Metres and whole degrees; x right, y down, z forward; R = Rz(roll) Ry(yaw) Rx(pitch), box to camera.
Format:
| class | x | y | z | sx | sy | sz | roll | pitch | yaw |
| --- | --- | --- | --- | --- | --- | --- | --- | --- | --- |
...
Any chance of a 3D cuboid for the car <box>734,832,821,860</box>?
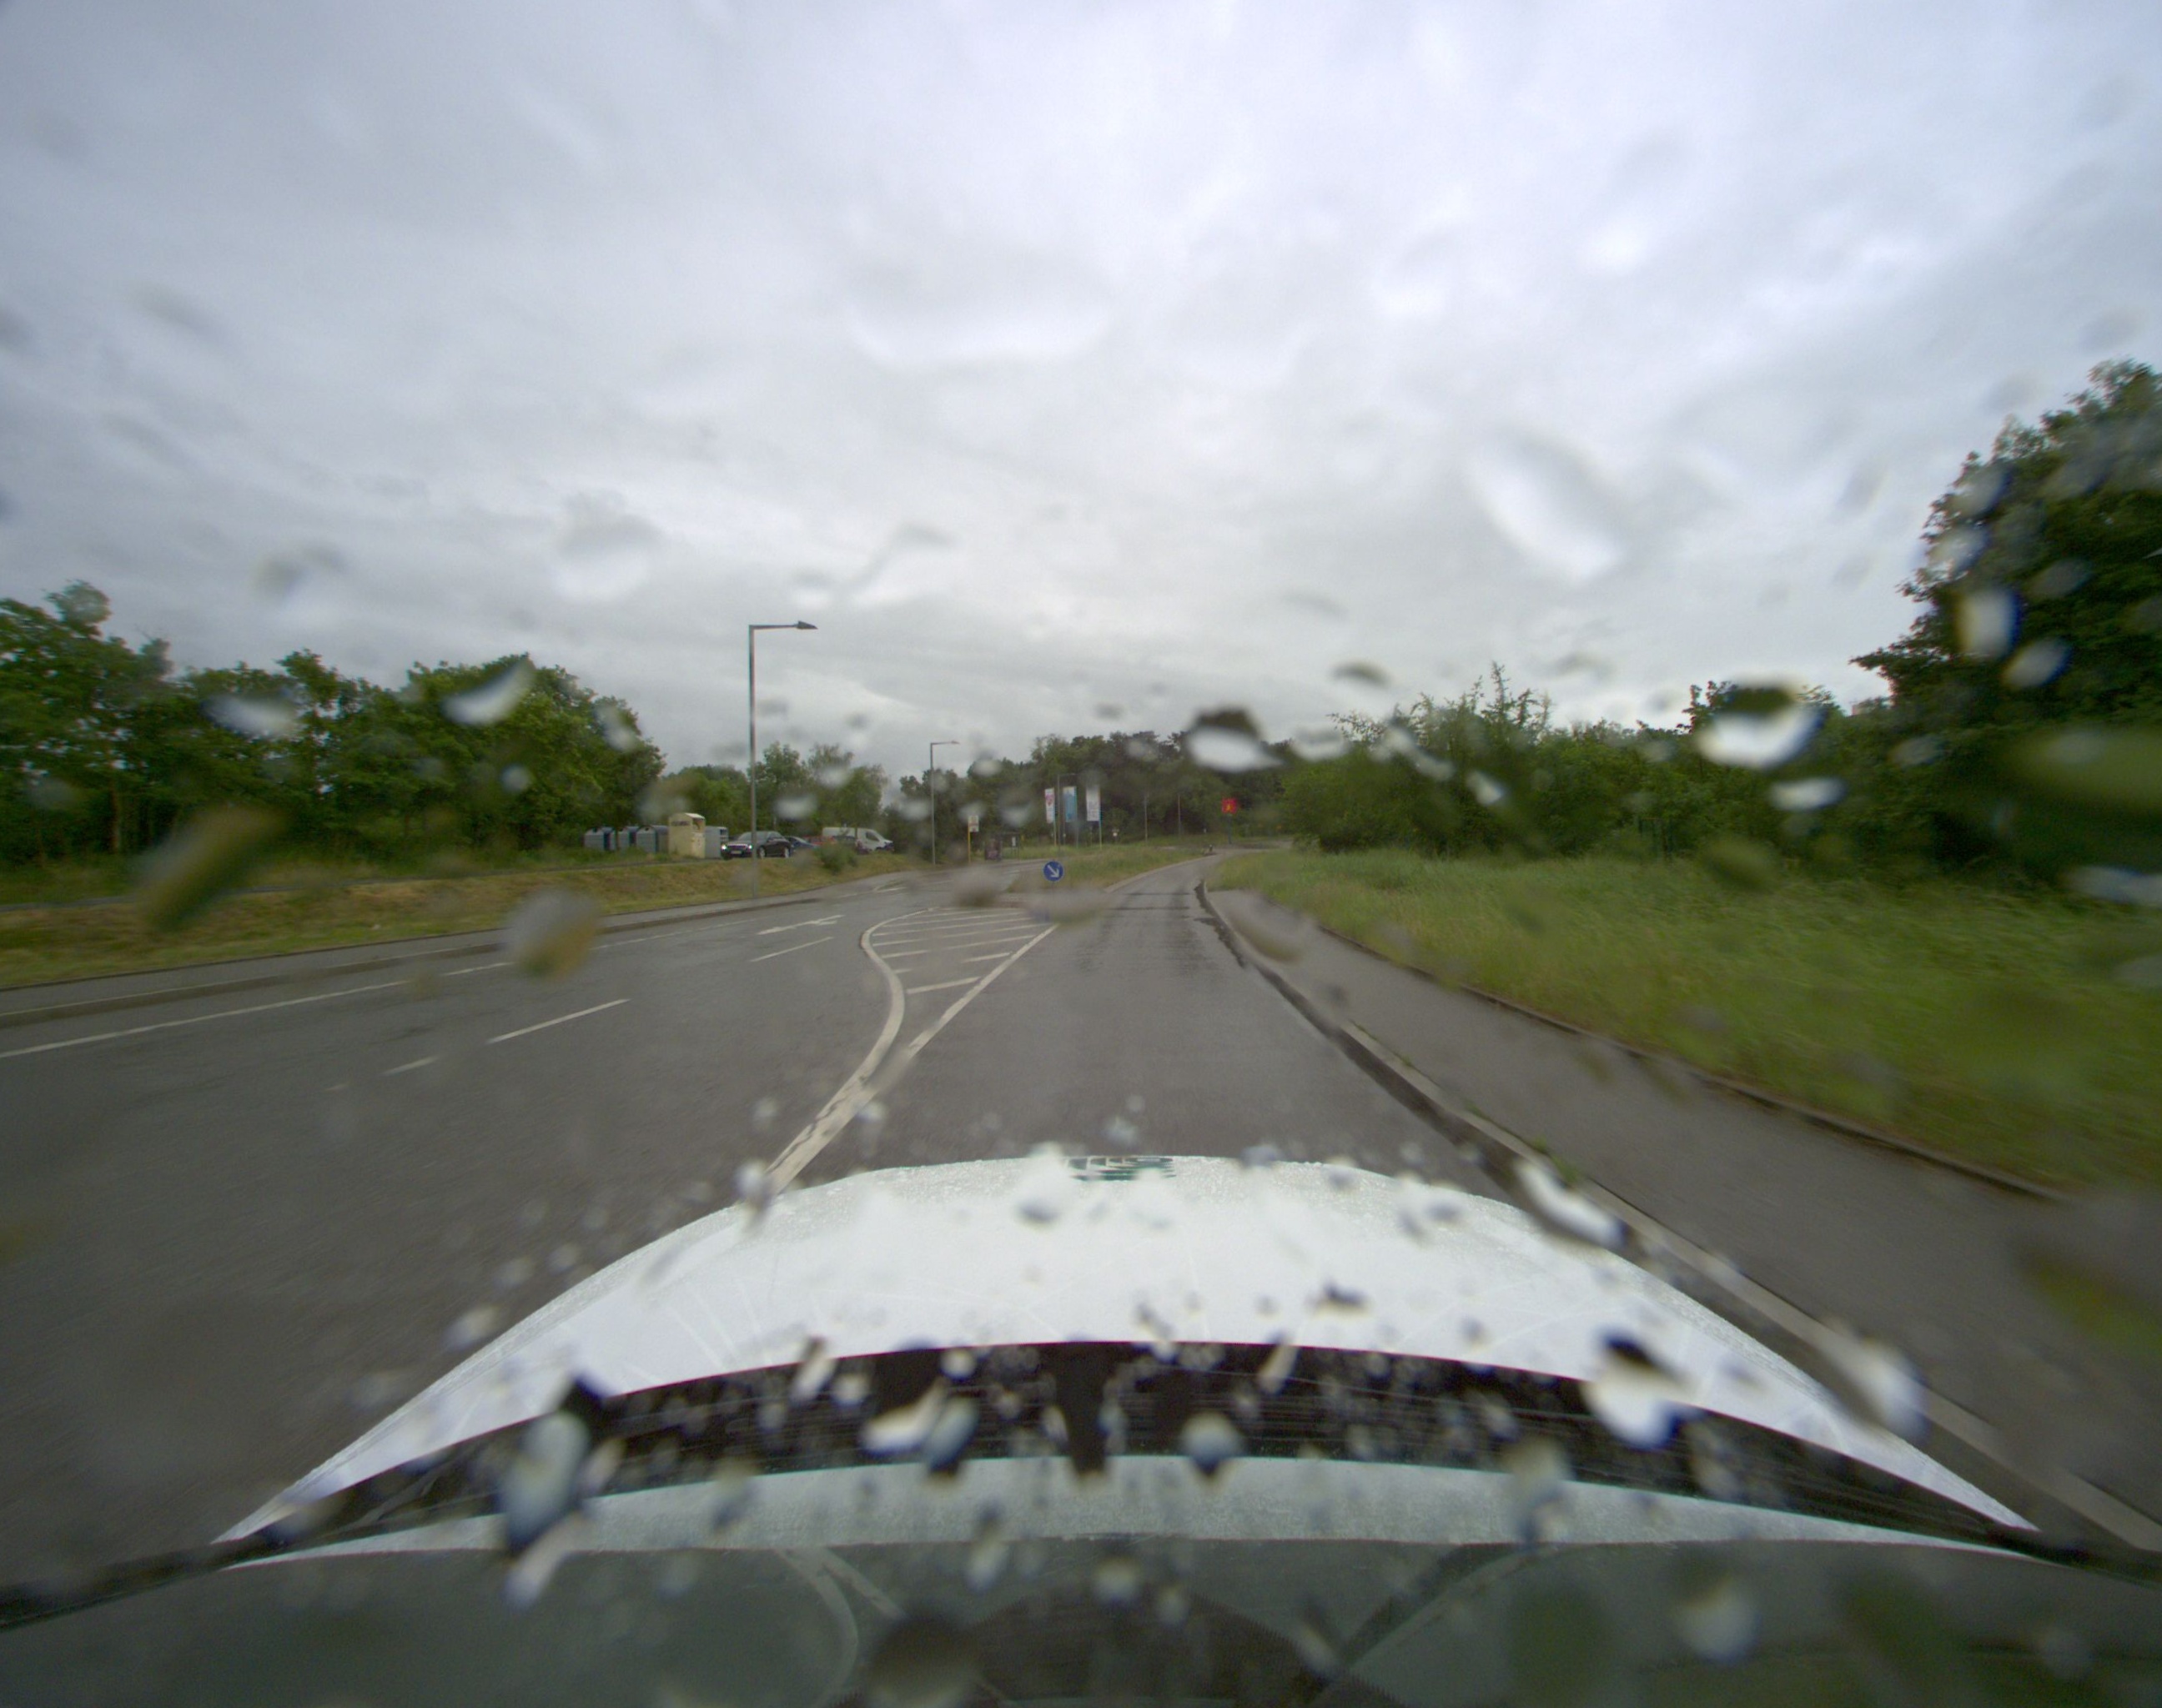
| class | x | y | z | sx | sy | sz | roll | pitch | yaw |
| --- | --- | --- | --- | --- | --- | --- | --- | --- | --- |
| car | -18.944 | -0.514 | 50.982 | 4.684 | 1.693 | 2.007 | 0 | 1 | 4 |

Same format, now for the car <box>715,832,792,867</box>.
| class | x | y | z | sx | sy | sz | roll | pitch | yaw |
| --- | --- | --- | --- | --- | --- | --- | --- | --- | --- |
| car | -16.180 | -0.276 | 40.510 | 1.684 | 1.568 | 4.548 | 2 | 2 | 4 |

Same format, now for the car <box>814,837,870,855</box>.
| class | x | y | z | sx | sy | sz | roll | pitch | yaw |
| --- | --- | --- | --- | --- | --- | --- | --- | --- | --- |
| car | -19.510 | -0.665 | 66.595 | 3.966 | 1.364 | 1.656 | 2 | 1 | 6 |

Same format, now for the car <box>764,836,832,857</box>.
| class | x | y | z | sx | sy | sz | roll | pitch | yaw |
| --- | --- | --- | --- | --- | --- | --- | --- | --- | --- |
| car | -19.460 | -0.523 | 56.086 | 3.966 | 1.364 | 1.904 | 2 | 1 | 7 |

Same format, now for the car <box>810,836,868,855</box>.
| class | x | y | z | sx | sy | sz | roll | pitch | yaw |
| --- | --- | --- | --- | --- | --- | --- | --- | --- | --- |
| car | -19.141 | -0.671 | 64.512 | 3.966 | 1.364 | 1.851 | -1 | 1 | 6 |

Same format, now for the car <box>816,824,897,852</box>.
| class | x | y | z | sx | sy | sz | roll | pitch | yaw |
| --- | --- | --- | --- | --- | --- | --- | --- | --- | --- |
| car | -19.854 | -1.404 | 72.318 | 6.532 | 2.397 | 2.139 | 0 | -1 | 1 |

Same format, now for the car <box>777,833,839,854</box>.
| class | x | y | z | sx | sy | sz | roll | pitch | yaw |
| --- | --- | --- | --- | --- | --- | --- | --- | --- | --- |
| car | -20.546 | -0.779 | 61.388 | 3.968 | 1.469 | 1.851 | -1 | 1 | 5 |
